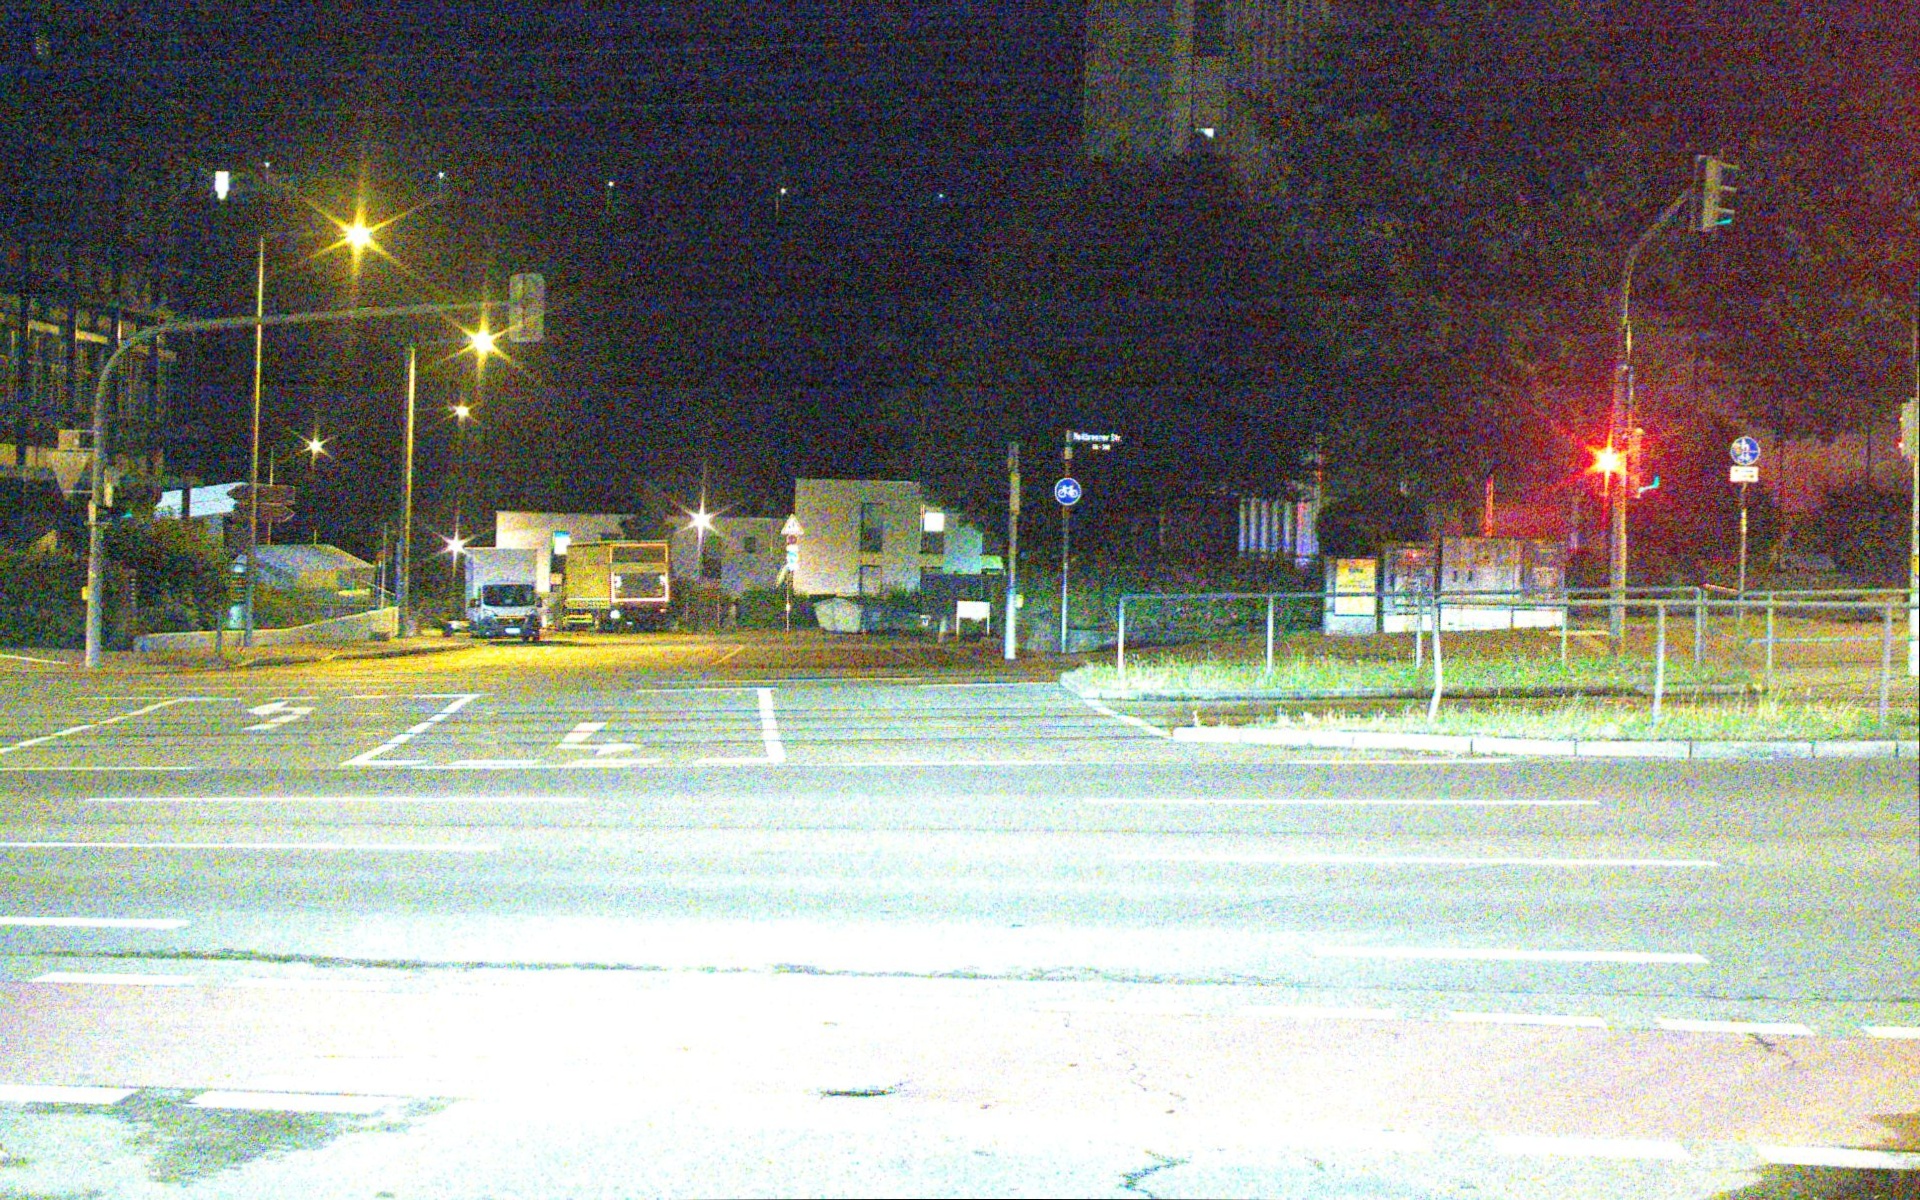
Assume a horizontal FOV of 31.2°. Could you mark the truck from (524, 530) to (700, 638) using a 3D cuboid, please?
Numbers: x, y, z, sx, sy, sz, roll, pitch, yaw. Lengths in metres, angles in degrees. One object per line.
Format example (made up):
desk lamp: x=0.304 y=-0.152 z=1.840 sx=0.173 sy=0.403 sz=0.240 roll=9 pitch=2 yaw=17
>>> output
truck: x=-15.446 y=-0.762 z=151.239 sx=4.821 sy=4.531 sz=12.669 roll=1 pitch=1 yaw=-19

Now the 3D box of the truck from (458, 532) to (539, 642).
truck: x=-16.032 y=-0.470 z=119.147 sx=2.582 sy=3.694 sz=5.739 roll=1 pitch=1 yaw=-9
